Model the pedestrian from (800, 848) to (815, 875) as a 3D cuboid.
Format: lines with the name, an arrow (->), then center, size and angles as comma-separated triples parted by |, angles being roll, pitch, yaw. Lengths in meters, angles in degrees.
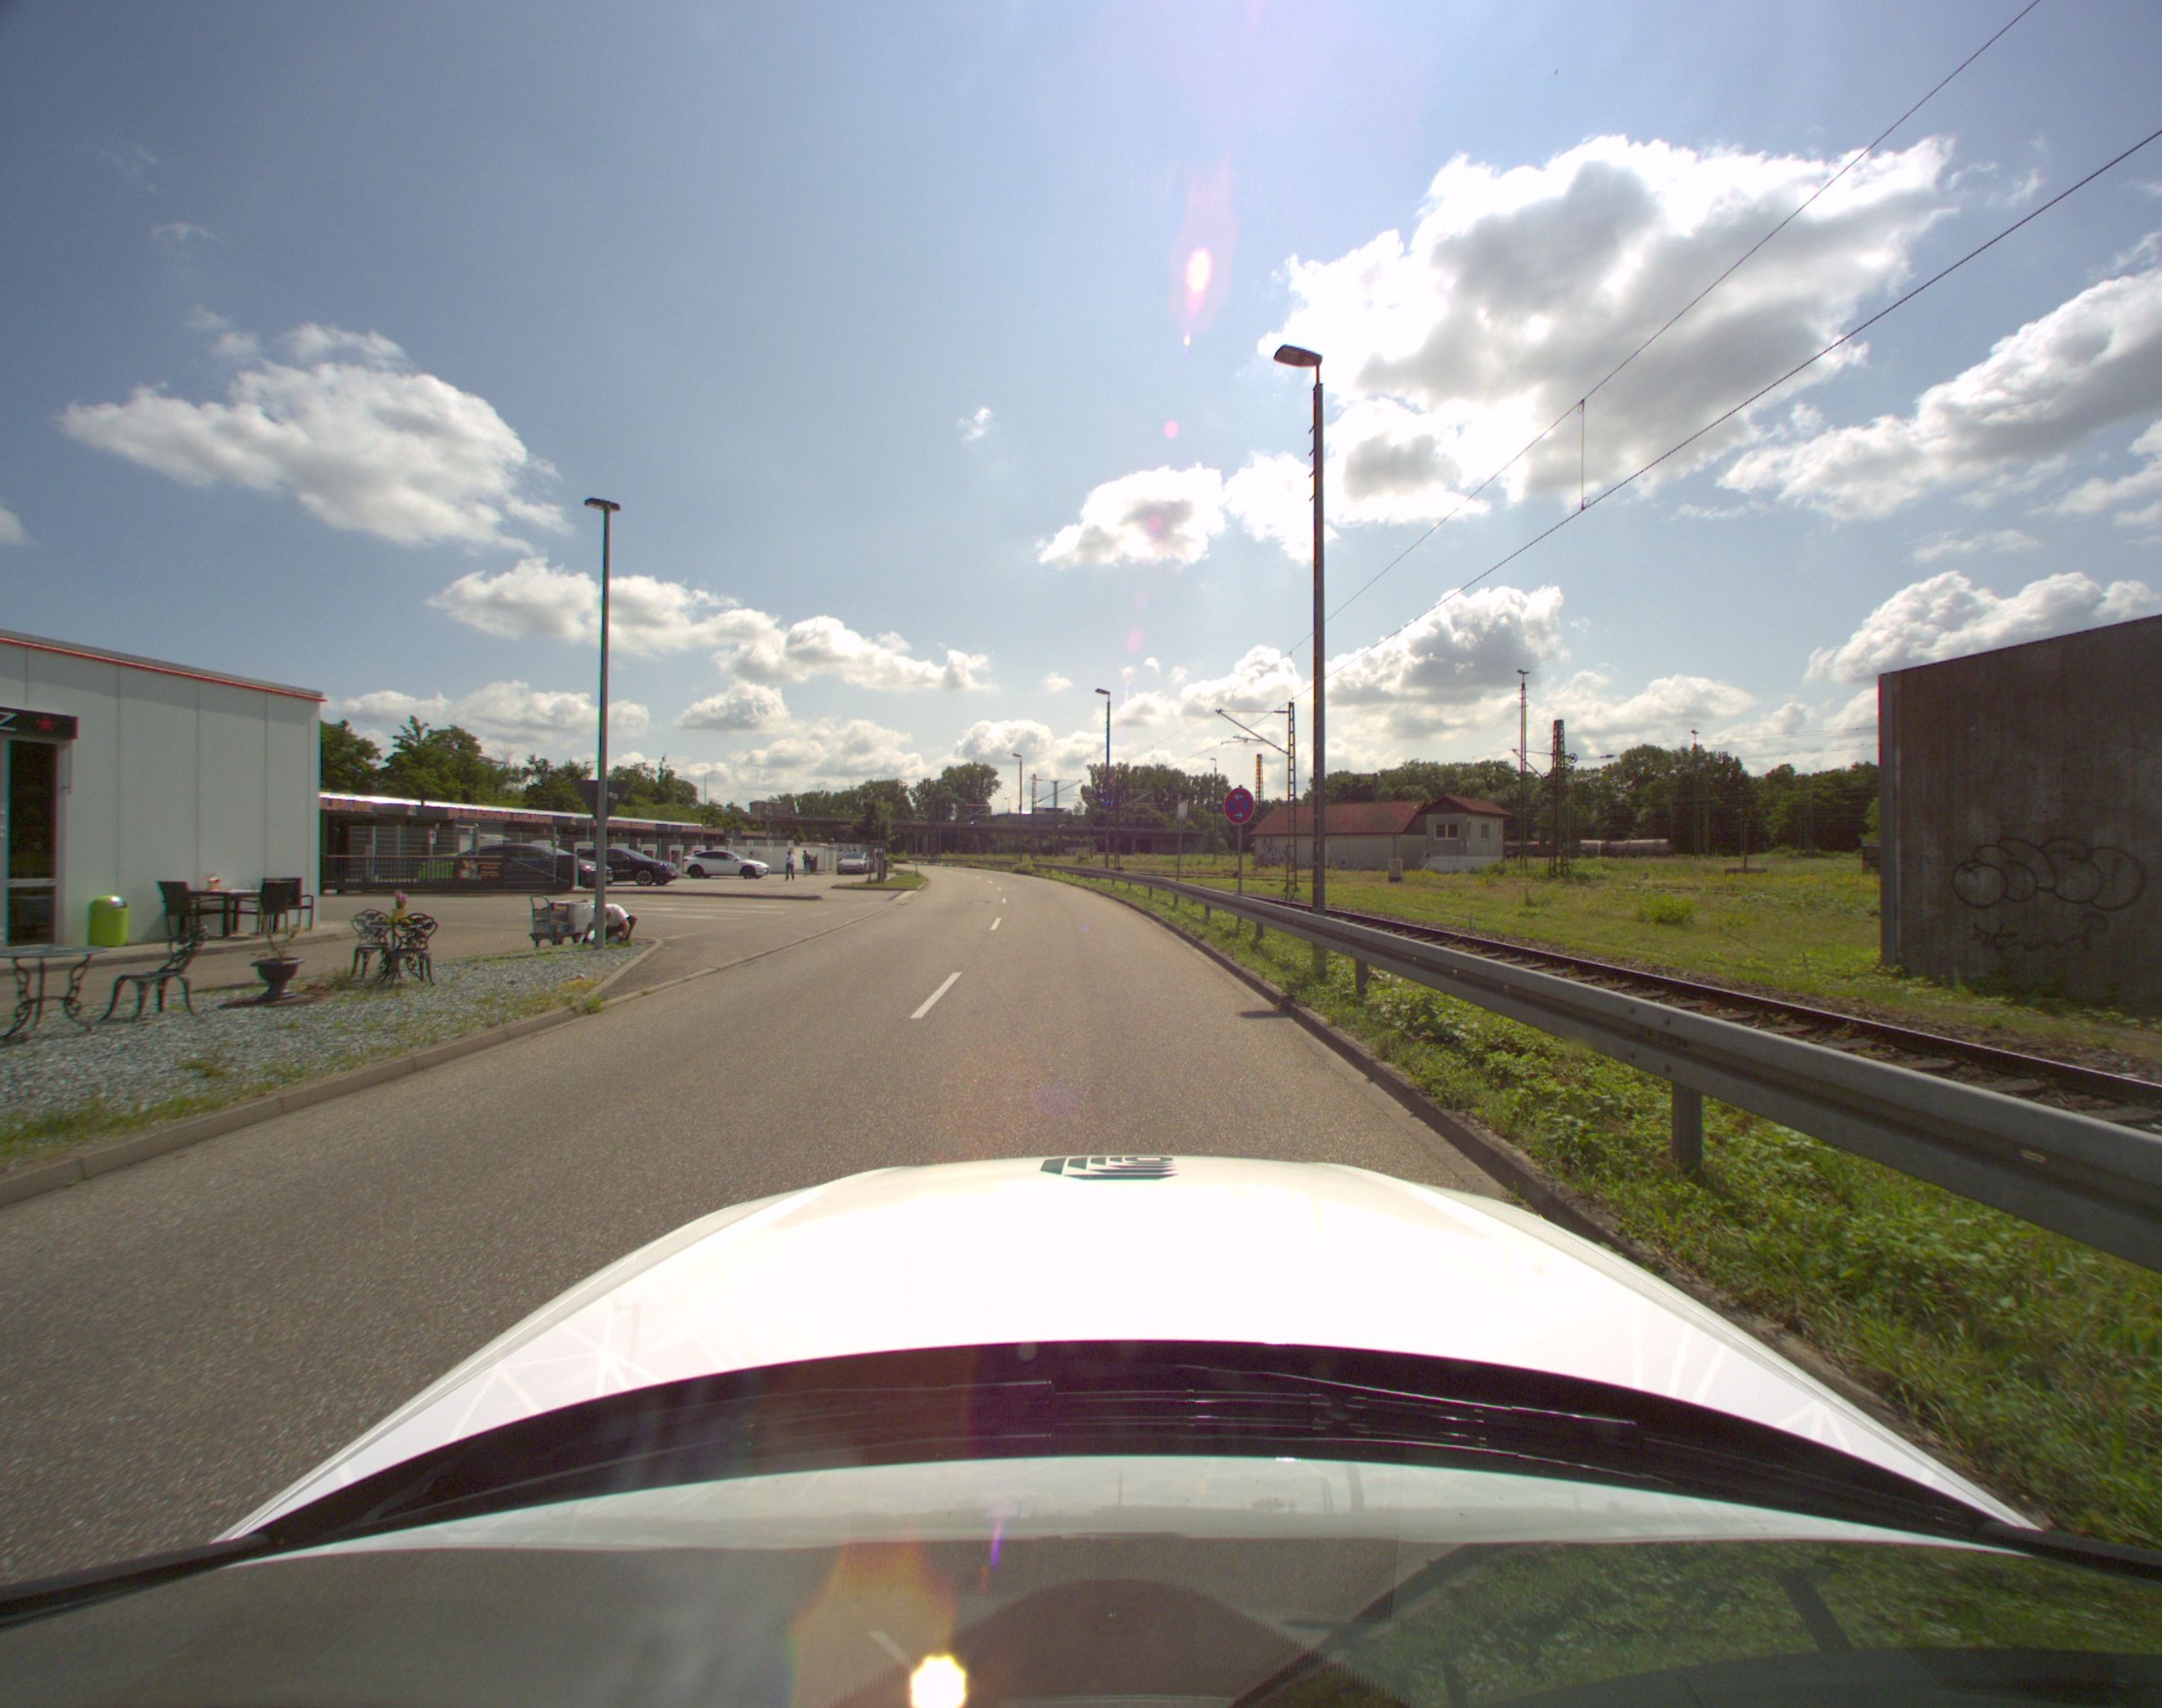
pedestrian -> -18.309, 0.493, 54.498 | 0.863, 1.751, 0.724 | 1, -1, -13

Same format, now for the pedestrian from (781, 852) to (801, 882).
pedestrian -> -15.944, 0.700, 44.799 | 0.861, 1.653, 0.938 | 0, -1, -7

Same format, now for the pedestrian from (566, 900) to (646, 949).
pedestrian -> -8.162, 1.202, 14.025 | 0.858, 0.760, 0.819 | 1, 0, 3

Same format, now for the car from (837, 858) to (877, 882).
car -> -16.362, 1.121, 59.617 | 1.927, 1.517, 4.768 | 1, 1, -4

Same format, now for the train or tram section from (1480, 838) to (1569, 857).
train or tram section -> 78.970, -1.094, 145.407 | 13.765, 3.305, 3.052 | 0, 0, 44

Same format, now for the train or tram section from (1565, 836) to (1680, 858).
train or tram section -> 89.541, -1.107, 135.196 | 15.562, 3.305, 3.052 | -1, -1, 44

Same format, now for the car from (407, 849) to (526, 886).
car -> -26.251, 0.567, 34.996 | 1.911, 1.482, 4.296 | 0, -1, -2

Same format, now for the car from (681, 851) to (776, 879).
car -> -20.163, 0.641, 46.760 | 4.547, 1.524, 1.995 | 0, -1, -8

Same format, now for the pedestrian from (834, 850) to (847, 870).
pedestrian -> -18.691, 0.462, 63.325 | 0.749, 1.565, 0.718 | -1, -1, 41

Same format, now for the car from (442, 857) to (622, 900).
car -> -19.307, 0.845, 28.871 | 4.741, 1.455, 2.232 | 0, 0, -8

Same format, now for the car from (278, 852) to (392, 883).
car -> -38.908, 0.698, 42.576 | 3.980, 1.562, 1.996 | -1, -1, -5

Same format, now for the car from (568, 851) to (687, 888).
car -> -19.482, 0.656, 35.133 | 3.982, 1.519, 1.996 | 0, -1, -6

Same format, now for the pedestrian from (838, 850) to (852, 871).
pedestrian -> -18.175, 0.501, 62.732 | 0.704, 1.579, 0.726 | -1, -1, 34
